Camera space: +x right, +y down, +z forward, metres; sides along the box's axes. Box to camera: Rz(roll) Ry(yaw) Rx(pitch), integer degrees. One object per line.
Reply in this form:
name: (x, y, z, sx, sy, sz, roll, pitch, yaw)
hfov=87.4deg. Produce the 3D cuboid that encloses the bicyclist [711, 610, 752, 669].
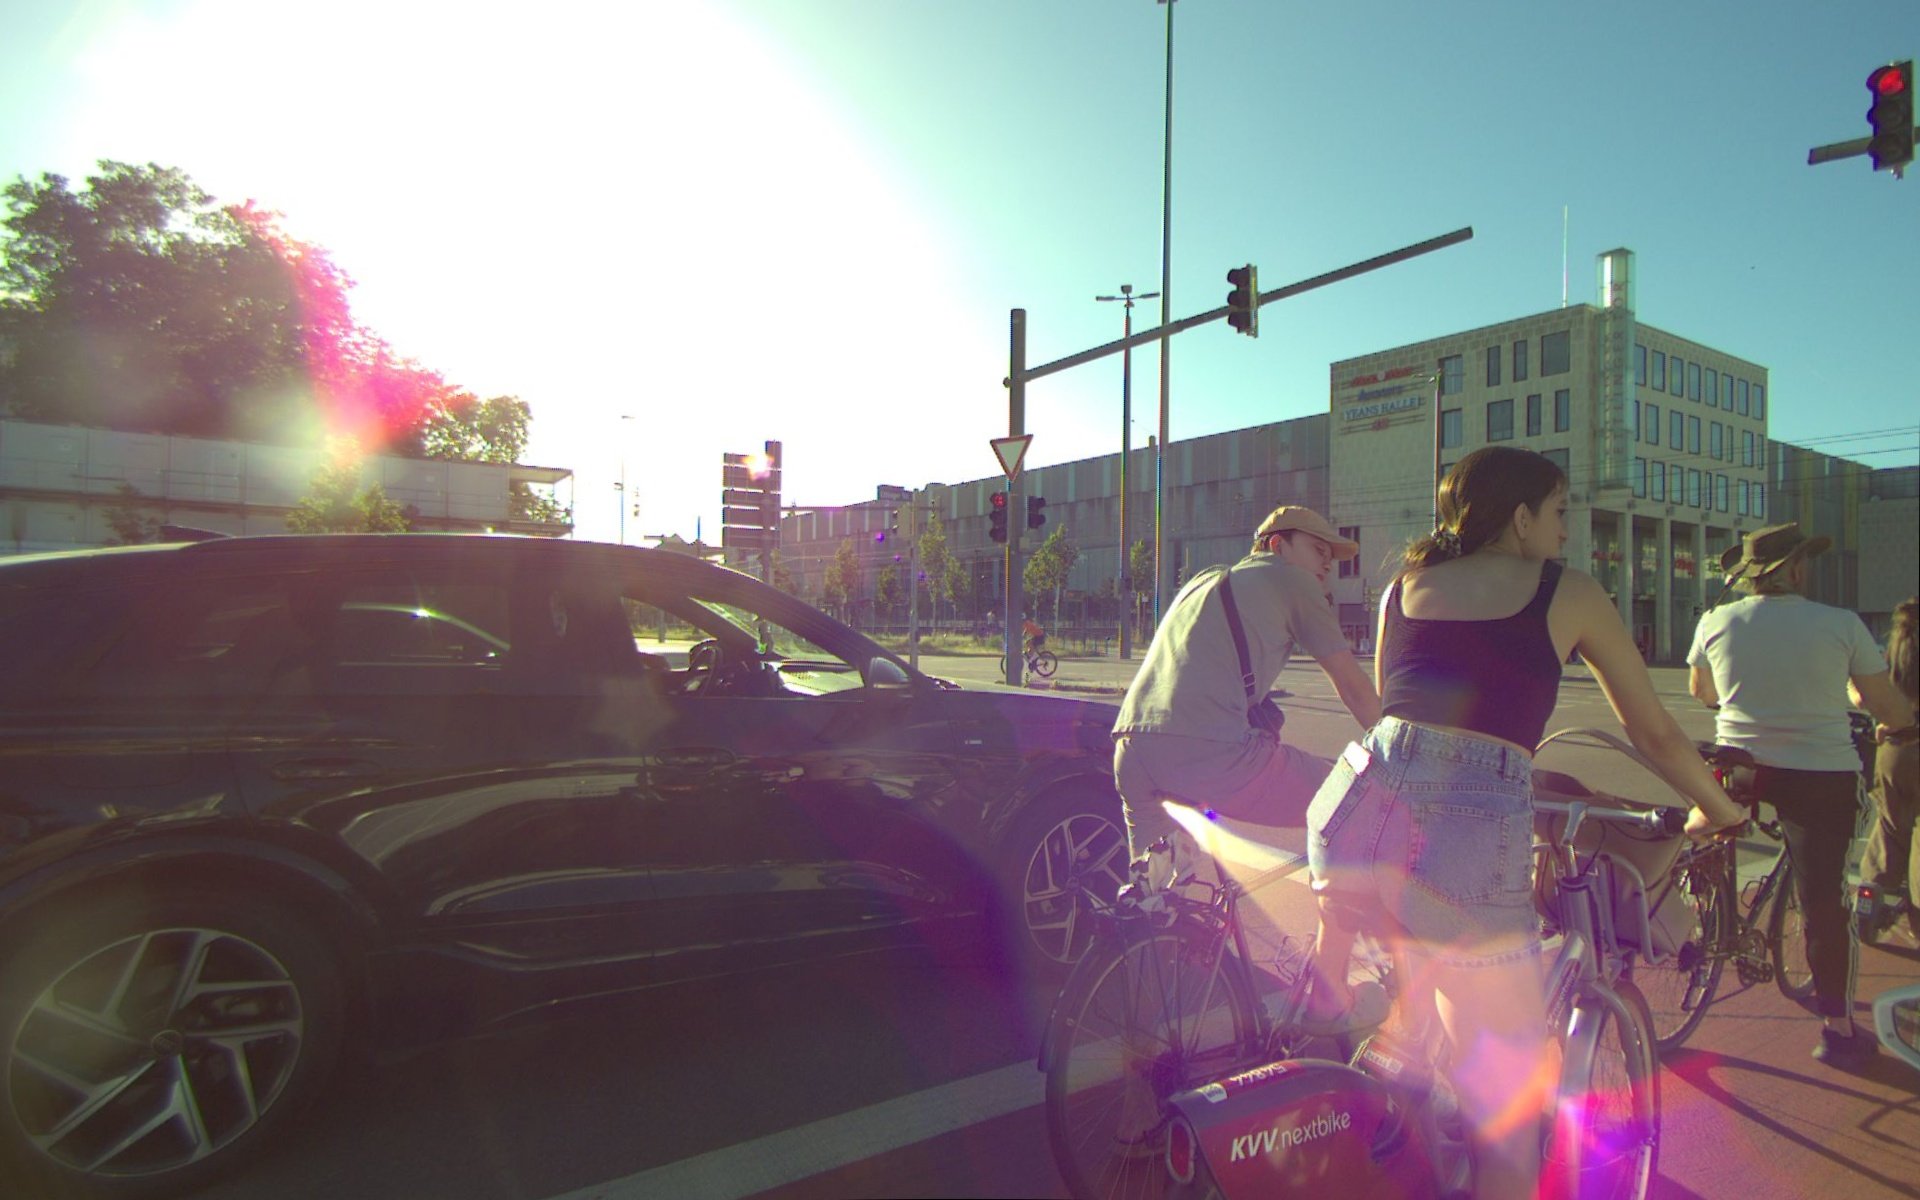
bicyclist: (-8.220, 1.404, 36.204, 1.078, 2.040, 0.961, 2, 0, 15)

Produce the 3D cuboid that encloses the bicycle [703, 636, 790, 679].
bicycle: (-7.662, 2.056, 36.054, 2.905, 1.388, 0.970, 2, 0, 16)

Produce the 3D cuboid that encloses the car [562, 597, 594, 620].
car: (-32.930, 0.738, 86.509, 1.785, 1.908, 3.964, 2, 0, -33)

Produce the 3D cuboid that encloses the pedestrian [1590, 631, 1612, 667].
pedestrian: (36.954, 2.834, 57.911, 0.767, 2.040, 0.876, 2, 0, -41)

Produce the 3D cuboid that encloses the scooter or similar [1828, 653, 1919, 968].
scooter or similar: (4.506, 0.926, 4.714, 1.186, 1.311, 0.541, 2, 0, -45)

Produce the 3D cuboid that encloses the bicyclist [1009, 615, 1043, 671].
bicyclist: (1.760, 1.153, 26.784, 0.704, 1.456, 0.494, 2, 0, -26)

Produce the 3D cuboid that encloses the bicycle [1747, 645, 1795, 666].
bicycle: (51.286, 3.485, 63.555, 0.605, 1.238, 2.295, 1, -1, -31)

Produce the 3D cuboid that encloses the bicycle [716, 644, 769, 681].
bicycle: (-9.466, 2.701, 43.661, 0.962, 1.388, 2.930, 2, 0, -40)

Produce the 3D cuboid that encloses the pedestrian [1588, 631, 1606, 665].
pedestrian: (35.882, 2.704, 56.586, 0.784, 1.868, 0.863, 0, -1, 28)

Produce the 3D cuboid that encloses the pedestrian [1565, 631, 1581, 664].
pedestrian: (35.639, 2.740, 58.427, 0.784, 1.868, 0.862, 0, -1, 32)

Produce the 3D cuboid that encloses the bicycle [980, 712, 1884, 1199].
bicycle: (0.954, 0.891, 1.824, 1.811, 1.234, 0.612, 1, 0, -33)

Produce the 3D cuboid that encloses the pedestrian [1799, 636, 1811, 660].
pedestrian: (63.540, 3.604, 75.555, 0.602, 1.702, 0.549, 1, 0, -40)

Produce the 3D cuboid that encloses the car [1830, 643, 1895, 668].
car: (49.793, 3.073, 55.413, 3.956, 1.359, 1.621, 2, -4, -32)

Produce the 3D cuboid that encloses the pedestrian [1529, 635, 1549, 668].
pedestrian: (34.416, 3.055, 59.692, 0.710, 1.910, 0.779, 2, 0, -36)

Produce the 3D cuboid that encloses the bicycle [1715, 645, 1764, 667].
bicycle: (46.973, 3.338, 60.531, 0.605, 1.238, 2.295, 1, -1, -31)

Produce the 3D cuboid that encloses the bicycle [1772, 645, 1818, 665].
bicycle: (55.528, 3.631, 66.834, 0.605, 1.238, 2.295, 1, -1, -31)

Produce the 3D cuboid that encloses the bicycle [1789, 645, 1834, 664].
bicycle: (58.860, 3.746, 69.433, 0.605, 1.238, 2.295, 1, -1, -31)

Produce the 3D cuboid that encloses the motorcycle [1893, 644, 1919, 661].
motorcycle: (70.747, 3.920, 74.861, 0.508, 1.223, 1.786, 1, 0, -44)

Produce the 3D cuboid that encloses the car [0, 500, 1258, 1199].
car: (-1.139, 0.633, 3.870, 4.630, 1.656, 1.760, 1, 0, -32)

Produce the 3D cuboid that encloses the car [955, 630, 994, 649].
car: (1.304, 3.670, 93.898, 1.643, 1.606, 3.871, 2, 0, -36)

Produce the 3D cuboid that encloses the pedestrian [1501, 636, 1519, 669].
pedestrian: (33.233, 3.176, 60.692, 0.780, 1.910, 0.709, 2, 0, -37)

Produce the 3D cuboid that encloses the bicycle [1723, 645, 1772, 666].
bicycle: (48.056, 3.375, 61.342, 0.605, 1.238, 2.295, 1, -1, -31)

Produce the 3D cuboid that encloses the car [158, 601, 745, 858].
car: (-3.571, 0.791, 7.495, 3.562, 1.505, 1.485, 1, 0, -30)

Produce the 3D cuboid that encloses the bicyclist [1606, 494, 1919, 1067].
bicyclist: (2.884, 0.557, 3.553, 0.856, 1.743, 0.657, 2, 0, -30)

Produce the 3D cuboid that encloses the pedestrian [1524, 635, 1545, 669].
pedestrian: (33.406, 3.017, 58.379, 0.710, 1.910, 0.779, 2, 0, -36)

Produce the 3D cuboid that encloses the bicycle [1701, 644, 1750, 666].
bicycle: (45.772, 3.299, 60.086, 0.605, 1.238, 2.295, 1, -1, -31)

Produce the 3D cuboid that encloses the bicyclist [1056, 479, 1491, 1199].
bicyclist: (0.818, 0.560, 2.674, 0.833, 1.627, 0.712, 1, 0, -32)

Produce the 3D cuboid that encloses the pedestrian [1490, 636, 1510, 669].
pedestrian: (32.171, 3.139, 59.870, 0.710, 1.910, 0.779, 2, 0, -36)

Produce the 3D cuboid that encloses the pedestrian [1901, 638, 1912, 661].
pedestrian: (71.105, 3.684, 75.461, 0.579, 1.702, 0.516, 1, 1, -43)

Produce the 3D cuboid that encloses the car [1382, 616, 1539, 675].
car: (14.513, 1.319, 29.219, 3.825, 1.606, 1.658, 1, -1, -7)

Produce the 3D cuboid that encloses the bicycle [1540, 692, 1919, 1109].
bicycle: (2.893, 0.962, 3.679, 1.810, 1.171, 0.482, 2, 0, -31)

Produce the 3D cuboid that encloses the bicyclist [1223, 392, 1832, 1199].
bicyclist: (1.046, 0.522, 1.876, 0.866, 1.600, 0.638, 1, 0, -33)

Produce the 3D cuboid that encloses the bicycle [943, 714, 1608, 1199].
bicycle: (0.955, 0.954, 2.770, 1.949, 1.124, 0.643, 1, 0, -33)

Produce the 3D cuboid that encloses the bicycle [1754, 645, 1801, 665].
bicycle: (52.910, 3.542, 65.022, 0.605, 1.238, 2.295, 1, -1, -31)

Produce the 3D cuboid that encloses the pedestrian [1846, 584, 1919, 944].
pedestrian: (4.647, 0.763, 4.806, 0.568, 1.654, 0.543, 2, 0, -45)

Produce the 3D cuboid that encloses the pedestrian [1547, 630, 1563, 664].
pedestrian: (34.318, 2.682, 57.952, 0.705, 1.910, 0.785, 2, 0, 33)

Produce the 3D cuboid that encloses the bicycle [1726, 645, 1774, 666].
bicycle: (48.706, 3.398, 61.963, 0.605, 1.238, 2.295, 1, -1, -31)

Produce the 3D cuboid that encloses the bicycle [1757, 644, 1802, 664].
bicycle: (54.290, 3.592, 66.571, 0.605, 1.238, 2.295, 1, -1, -31)

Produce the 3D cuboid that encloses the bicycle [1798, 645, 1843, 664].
bicycle: (59.832, 3.777, 69.857, 0.605, 1.238, 2.295, 1, -1, -31)

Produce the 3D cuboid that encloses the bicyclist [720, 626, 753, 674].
bicyclist: (-9.816, 2.165, 44.089, 0.985, 2.040, 1.088, 2, 0, -40)

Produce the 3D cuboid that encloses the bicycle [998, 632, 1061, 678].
bicycle: (1.863, 1.473, 26.834, 1.628, 1.170, 0.494, 2, 0, -26)
